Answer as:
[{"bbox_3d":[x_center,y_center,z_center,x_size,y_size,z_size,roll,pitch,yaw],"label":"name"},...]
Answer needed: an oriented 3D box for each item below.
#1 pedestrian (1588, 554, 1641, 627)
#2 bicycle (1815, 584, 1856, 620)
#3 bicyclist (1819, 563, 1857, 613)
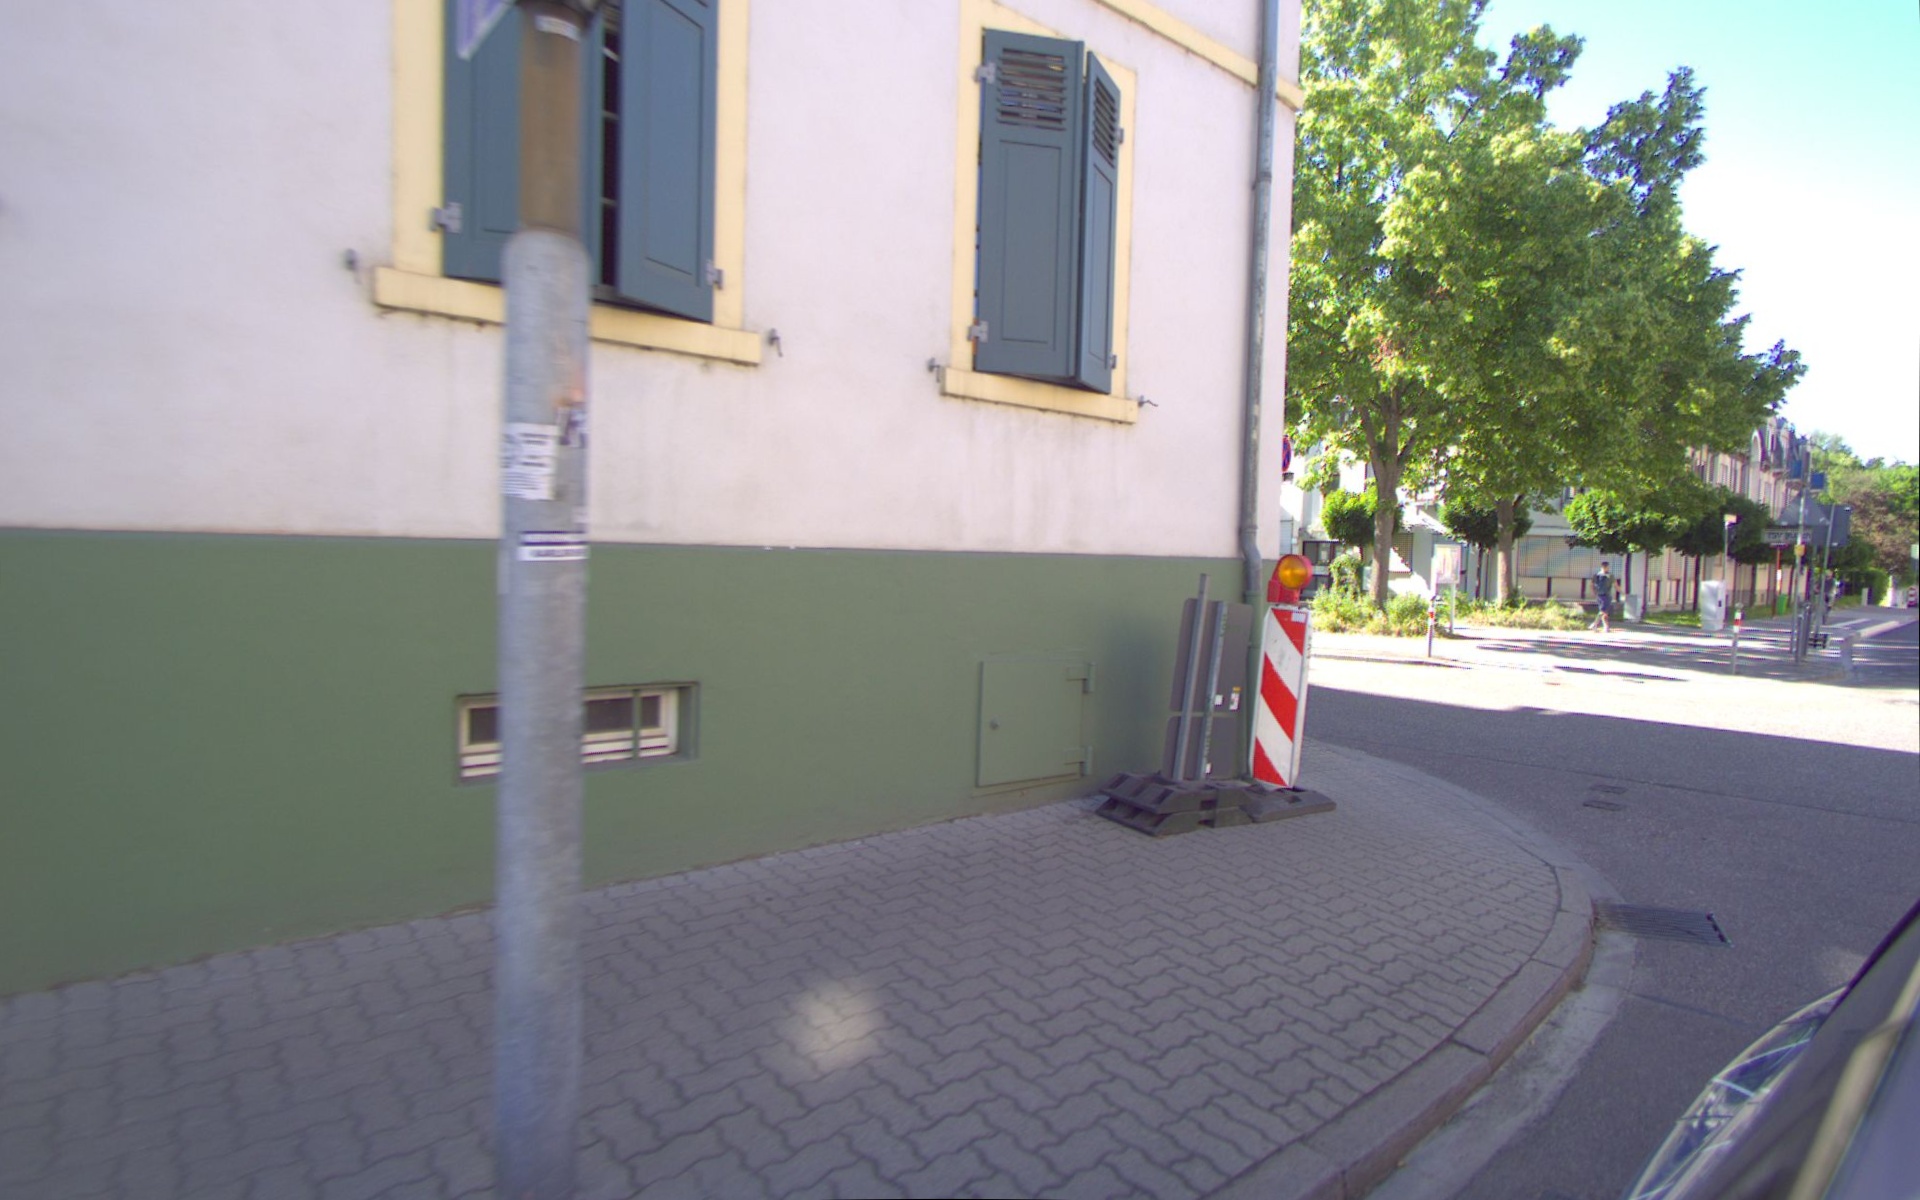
[{"bbox_3d":[16.033,-0.238,24.802,0.810,1.738,0.662,1,2,-10],"label":"pedestrian"},{"bbox_3d":[28.768,0.059,33.243,1.785,1.076,0.669,-1,7,-40],"label":"bicycle"},{"bbox_3d":[28.844,-0.412,33.239,0.898,1.556,0.669,-1,6,-40],"label":"bicyclist"}]
